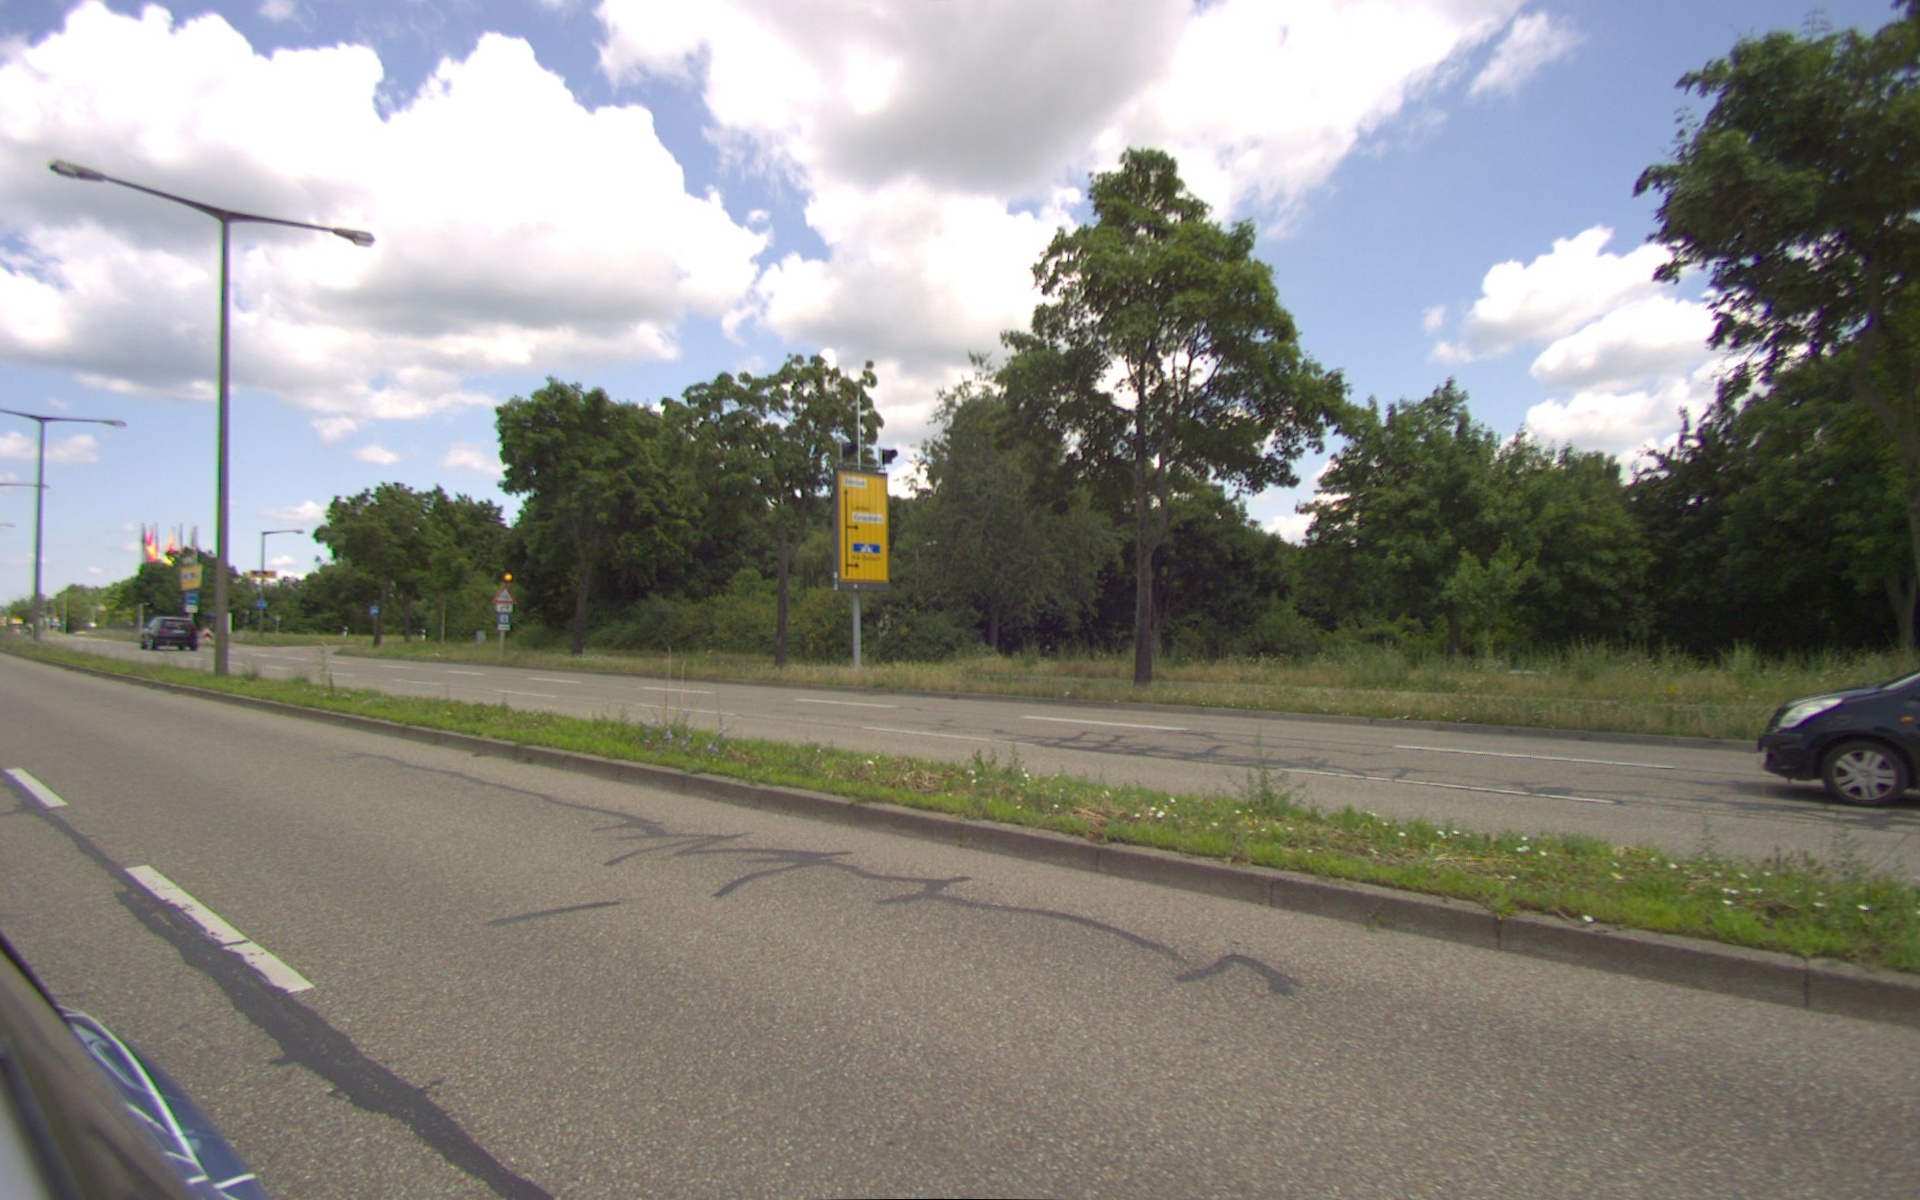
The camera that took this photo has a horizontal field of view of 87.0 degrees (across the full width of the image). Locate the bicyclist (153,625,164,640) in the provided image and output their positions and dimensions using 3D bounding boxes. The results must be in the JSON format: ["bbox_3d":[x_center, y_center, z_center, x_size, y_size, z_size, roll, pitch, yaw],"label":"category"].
[{"bbox_3d":[-66.915,2.714,84.444,1.106,1.282,0.515,-4,-2,40],"label":"bicyclist"}]

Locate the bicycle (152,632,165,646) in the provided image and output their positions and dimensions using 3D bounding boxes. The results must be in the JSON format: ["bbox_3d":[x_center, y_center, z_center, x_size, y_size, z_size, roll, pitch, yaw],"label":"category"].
[{"bbox_3d":[-66.835,3.263,84.381,1.906,1.076,0.427,-3,-2,40],"label":"bicycle"}]

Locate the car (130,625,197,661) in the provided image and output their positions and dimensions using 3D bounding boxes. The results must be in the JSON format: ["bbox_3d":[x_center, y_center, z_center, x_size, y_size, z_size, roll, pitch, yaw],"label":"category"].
[{"bbox_3d":[-42.263,2.270,53.641,4.725,1.804,1.857,-2,-4,41],"label":"car"}]

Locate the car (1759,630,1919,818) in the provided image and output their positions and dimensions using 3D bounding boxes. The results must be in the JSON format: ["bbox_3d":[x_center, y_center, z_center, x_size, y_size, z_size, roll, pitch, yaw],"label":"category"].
[{"bbox_3d":[8.729,0.948,7.907,3.662,1.438,1.688,-1,-2,31],"label":"car"}]
